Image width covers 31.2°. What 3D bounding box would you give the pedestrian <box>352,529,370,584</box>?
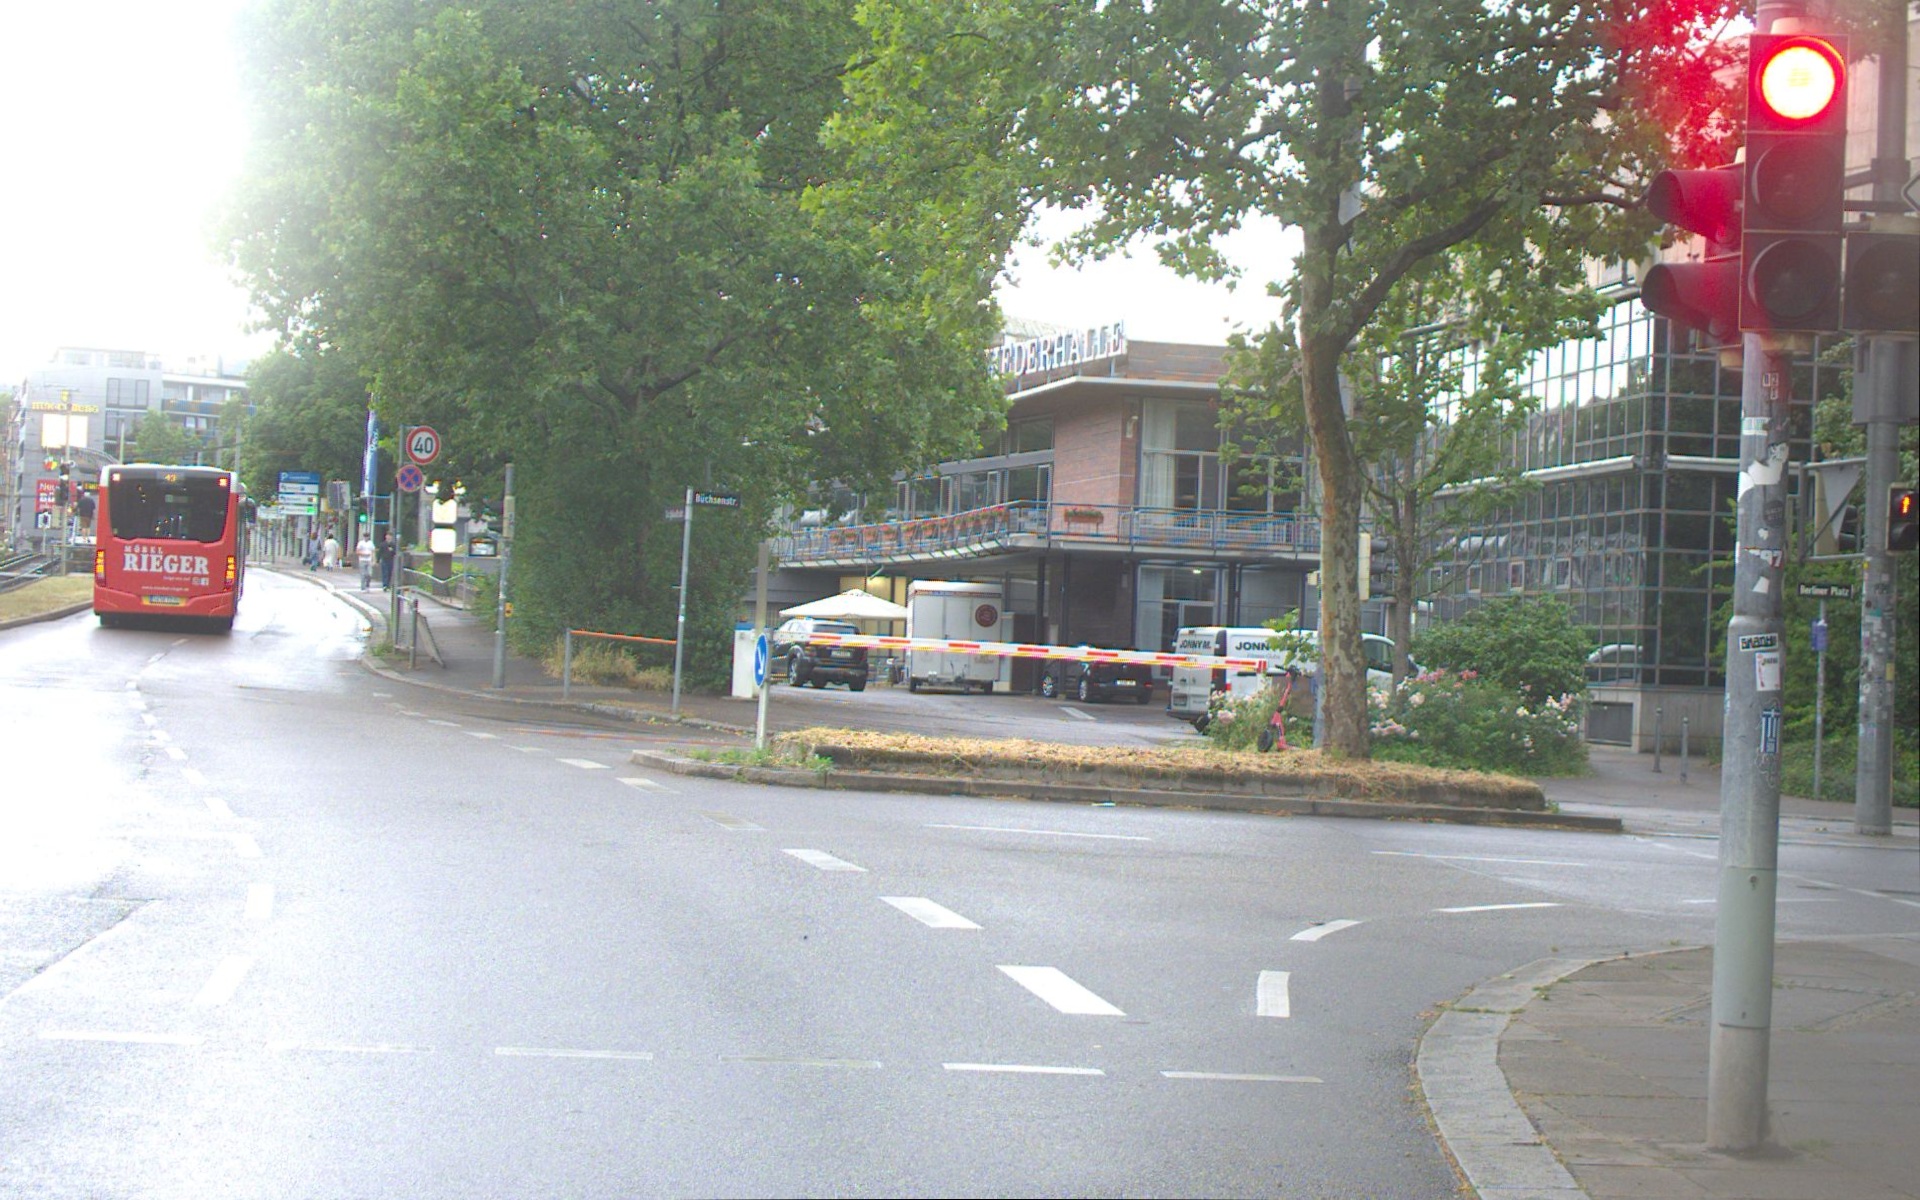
[{"bbox_3d":[-18.468,-1.340,105.983,0.371,1.702,0.644,3,0,-1],"label":"pedestrian"}]

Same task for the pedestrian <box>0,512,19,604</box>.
[{"bbox_3d":[-17.477,-0.781,62.181,0.737,1.634,0.871,4,-1,-14],"label":"pedestrian"}]

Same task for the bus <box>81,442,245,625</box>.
[{"bbox_3d":[-15.332,-1.222,66.252,2.654,3.100,9.188,4,-1,-13],"label":"bus"}]

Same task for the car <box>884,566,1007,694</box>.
[{"bbox_3d":[-0.415,0.777,90.546,2.544,3.123,5.032,4,-1,-6],"label":"car"}]

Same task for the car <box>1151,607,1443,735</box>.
[{"bbox_3d":[6.083,1.280,62.041,4.745,1.937,2.001,4,-1,-22],"label":"car"}]

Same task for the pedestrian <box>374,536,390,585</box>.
[{"bbox_3d":[-17.870,-1.218,106.264,0.371,1.520,0.344,3,0,-1],"label":"pedestrian"}]

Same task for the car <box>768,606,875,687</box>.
[{"bbox_3d":[-3.566,1.164,87.925,1.993,1.853,4.001,4,-1,-12],"label":"car"}]

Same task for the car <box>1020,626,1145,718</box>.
[{"bbox_3d":[2.975,1.747,84.443,1.993,2.007,4.001,4,-1,-13],"label":"car"}]

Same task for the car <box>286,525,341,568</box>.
[{"bbox_3d":[-27.924,-2.283,148.514,1.993,1.678,4.001,4,-1,-14],"label":"car"}]
